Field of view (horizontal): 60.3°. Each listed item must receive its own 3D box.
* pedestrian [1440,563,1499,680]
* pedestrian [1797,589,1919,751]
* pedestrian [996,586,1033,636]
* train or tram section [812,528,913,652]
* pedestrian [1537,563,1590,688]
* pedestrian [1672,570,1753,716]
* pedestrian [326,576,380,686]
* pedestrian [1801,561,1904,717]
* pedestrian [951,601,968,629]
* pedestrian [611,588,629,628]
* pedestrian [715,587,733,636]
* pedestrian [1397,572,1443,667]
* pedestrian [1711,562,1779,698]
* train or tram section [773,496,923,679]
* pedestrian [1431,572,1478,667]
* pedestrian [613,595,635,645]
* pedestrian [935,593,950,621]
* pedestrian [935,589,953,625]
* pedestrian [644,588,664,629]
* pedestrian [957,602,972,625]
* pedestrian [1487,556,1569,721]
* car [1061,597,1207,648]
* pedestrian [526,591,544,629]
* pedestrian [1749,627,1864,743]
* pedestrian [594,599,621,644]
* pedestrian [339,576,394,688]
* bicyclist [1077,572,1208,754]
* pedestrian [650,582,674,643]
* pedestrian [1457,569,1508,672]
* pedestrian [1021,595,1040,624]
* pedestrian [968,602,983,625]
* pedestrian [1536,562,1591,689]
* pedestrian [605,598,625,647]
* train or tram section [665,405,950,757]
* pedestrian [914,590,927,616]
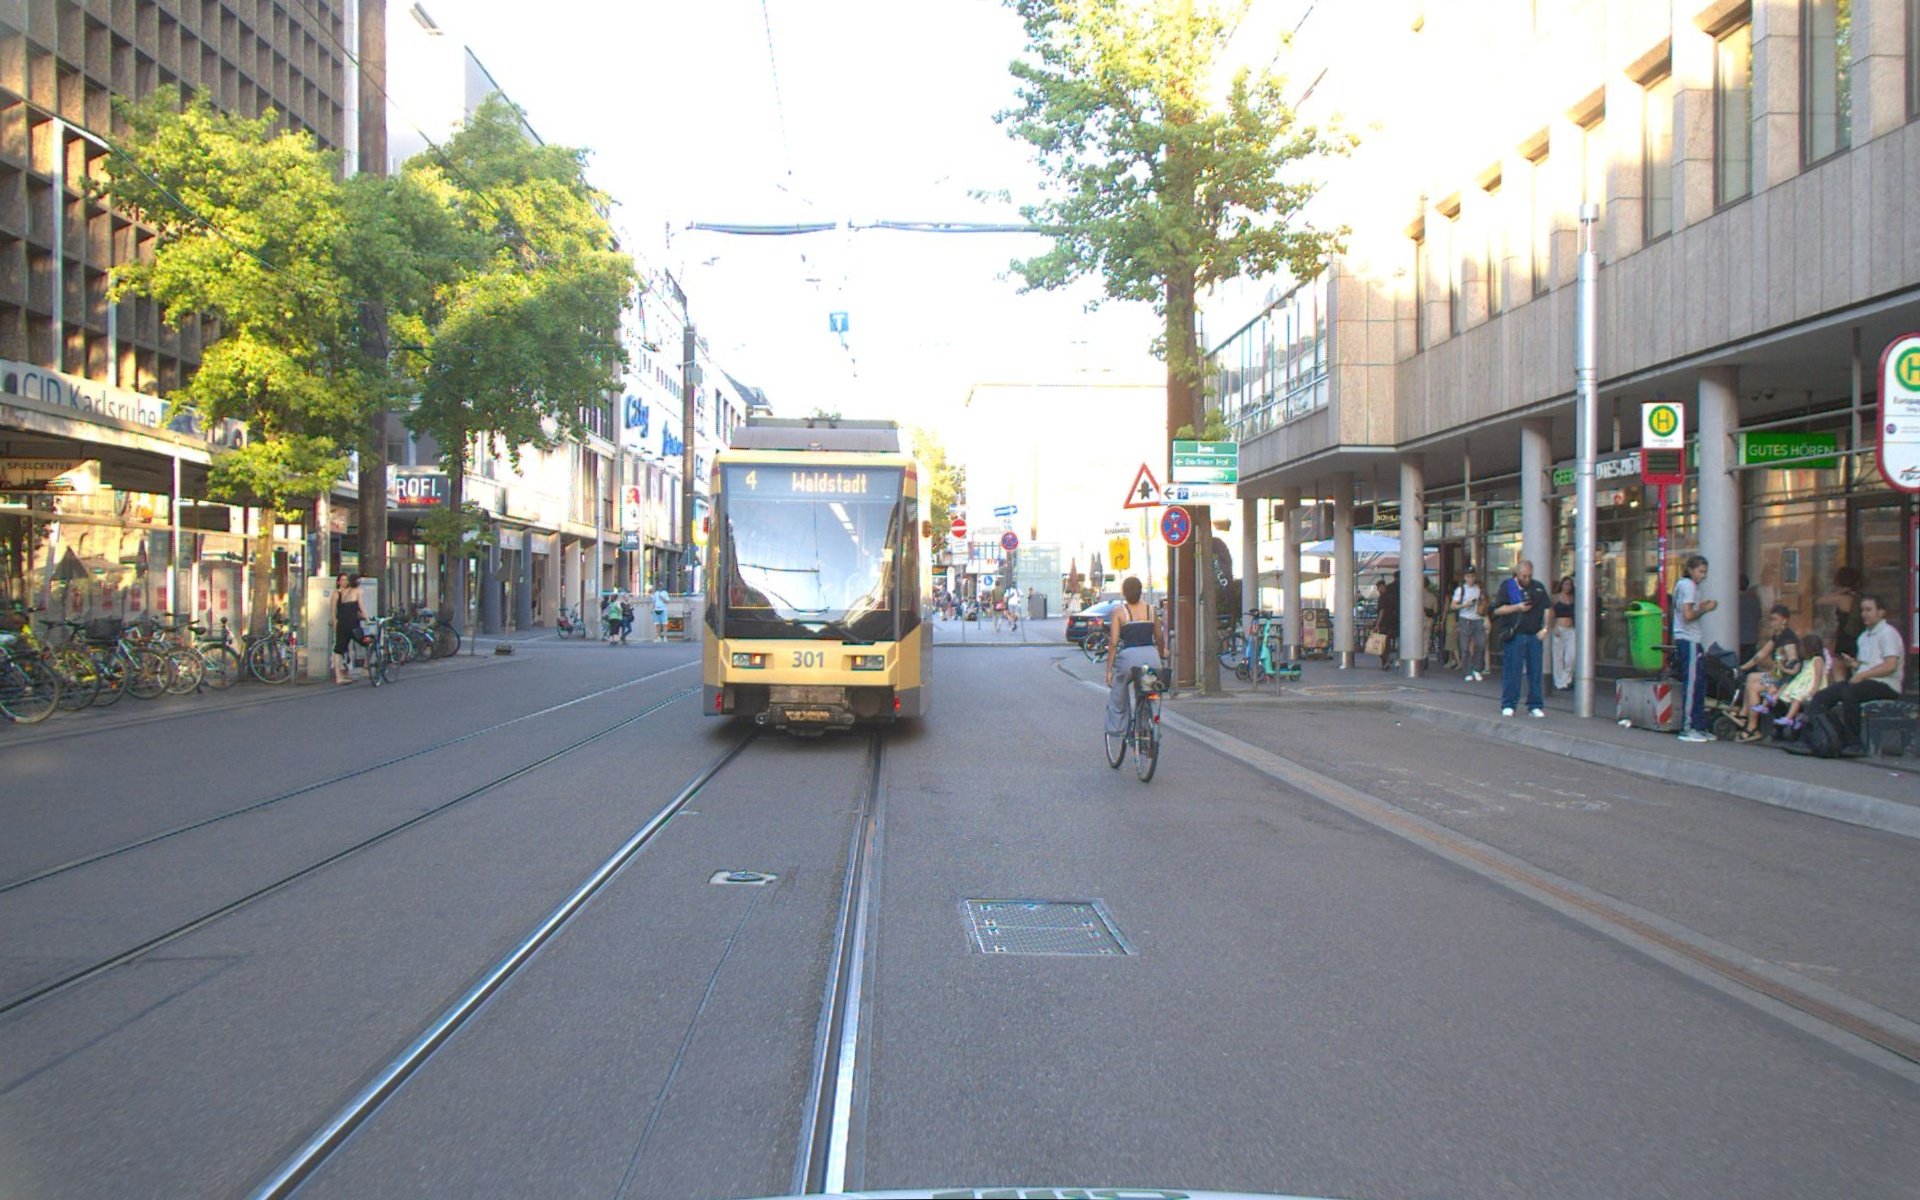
[{"bbox_3d":[8.371,0.352,27.199,0.655,1.872,0.879,-1,-1,-2],"label":"pedestrian"},{"bbox_3d":[8.042,0.610,14.773,0.796,1.405,0.662,1,-1,-1],"label":"pedestrian"},{"bbox_3d":[2.117,0.435,64.052,1.005,1.896,1.030,1,-1,-35],"label":"pedestrian"},{"bbox_3d":[-2.957,-0.299,52.227,2.744,3.377,14.501,0,0,-2],"label":"train or tram section"},{"bbox_3d":[9.070,0.380,24.879,0.528,1.838,0.604,-1,0,-3],"label":"pedestrian"},{"bbox_3d":[8.937,0.502,19.653,0.635,1.690,0.650,-1,0,-2],"label":"pedestrian"},{"bbox_3d":[-9.705,0.485,26.451,0.589,1.729,0.535,1,0,27],"label":"pedestrian"},{"bbox_3d":[10.569,0.452,19.609,0.757,1.803,0.773,-1,-1,-3],"label":"pedestrian"},{"bbox_3d":[-0.026,0.854,95.857,0.752,1.606,0.794,0,0,27],"label":"pedestrian"},{"bbox_3d":[-15.135,0.366,73.595,0.699,1.756,0.709,0,-1,-4],"label":"pedestrian"},{"bbox_3d":[-9.663,0.470,67.695,0.700,1.959,0.708,0,-1,-7],"label":"pedestrian"},{"bbox_3d":[8.940,0.371,32.186,0.649,1.818,0.719,-1,-1,-2],"label":"pedestrian"},{"bbox_3d":[10.340,0.394,21.809,0.559,1.762,0.617,-1,0,-3],"label":"pedestrian"},{"bbox_3d":[-2.357,-0.252,37.701,2.744,3.377,14.501,0,0,-2],"label":"train or tram section"},{"bbox_3d":[9.653,0.381,32.290,0.649,1.818,0.719,-1,-1,-2],"label":"pedestrian"},{"bbox_3d":[-10.590,0.643,52.134,0.671,1.569,0.604,0,-1,-9],"label":"pedestrian"},{"bbox_3d":[-1.094,0.435,103.871,0.775,1.690,0.770,0,0,9],"label":"pedestrian"},{"bbox_3d":[-0.853,0.373,87.715,0.722,1.855,0.816,0,0,-17],"label":"pedestrian"},{"bbox_3d":[-12.967,0.372,70.172,0.595,1.756,0.624,-1,-2,44],"label":"pedestrian"},{"bbox_3d":[0.236,0.742,91.674,0.777,1.243,0.768,0,0,-6],"label":"pedestrian"},{"bbox_3d":[6.587,0.435,19.207,0.655,1.872,0.708,-1,-1,-3],"label":"pedestrian"},{"bbox_3d":[5.113,0.666,48.558,3.990,1.434,1.760,1,-1,-27],"label":"car"},{"bbox_3d":[-19.487,0.469,75.815,0.699,1.756,0.709,0,-1,-4],"label":"pedestrian"},{"bbox_3d":[7.988,0.791,15.624,0.796,1.061,0.544,1,-1,-1],"label":"pedestrian"},{"bbox_3d":[-11.672,0.714,54.722,0.544,1.459,0.682,-1,-1,36],"label":"pedestrian"},{"bbox_3d":[-9.320,0.487,25.968,0.589,1.729,0.535,1,0,27],"label":"pedestrian"},{"bbox_3d":[1.586,0.540,14.529,0.977,1.528,0.856,2,0,-4],"label":"bicyclist"},{"bbox_3d":[-9.707,0.404,53.956,0.759,1.960,0.708,0,-1,-10],"label":"pedestrian"},{"bbox_3d":[9.369,0.361,29.684,0.649,1.818,0.719,-1,-1,-2],"label":"pedestrian"},{"bbox_3d":[4.063,0.552,95.340,0.763,1.690,0.782,0,0,-43],"label":"pedestrian"},{"bbox_3d":[0.856,0.746,90.894,0.777,1.243,0.768,0,0,-6],"label":"pedestrian"},{"bbox_3d":[8.893,0.375,24.385,0.528,1.838,0.604,-1,0,-3],"label":"pedestrian"},{"bbox_3d":[-10.708,0.691,51.322,0.592,1.520,0.554,0,-1,-10],"label":"pedestrian"},{"bbox_3d":[-1.764,-0.203,23.193,2.744,3.377,14.501,0,0,-2],"label":"train or tram section"},{"bbox_3d":[-2.563,0.206,107.594,0.750,1.690,0.795,0,0,10],"label":"pedestrian"}]
